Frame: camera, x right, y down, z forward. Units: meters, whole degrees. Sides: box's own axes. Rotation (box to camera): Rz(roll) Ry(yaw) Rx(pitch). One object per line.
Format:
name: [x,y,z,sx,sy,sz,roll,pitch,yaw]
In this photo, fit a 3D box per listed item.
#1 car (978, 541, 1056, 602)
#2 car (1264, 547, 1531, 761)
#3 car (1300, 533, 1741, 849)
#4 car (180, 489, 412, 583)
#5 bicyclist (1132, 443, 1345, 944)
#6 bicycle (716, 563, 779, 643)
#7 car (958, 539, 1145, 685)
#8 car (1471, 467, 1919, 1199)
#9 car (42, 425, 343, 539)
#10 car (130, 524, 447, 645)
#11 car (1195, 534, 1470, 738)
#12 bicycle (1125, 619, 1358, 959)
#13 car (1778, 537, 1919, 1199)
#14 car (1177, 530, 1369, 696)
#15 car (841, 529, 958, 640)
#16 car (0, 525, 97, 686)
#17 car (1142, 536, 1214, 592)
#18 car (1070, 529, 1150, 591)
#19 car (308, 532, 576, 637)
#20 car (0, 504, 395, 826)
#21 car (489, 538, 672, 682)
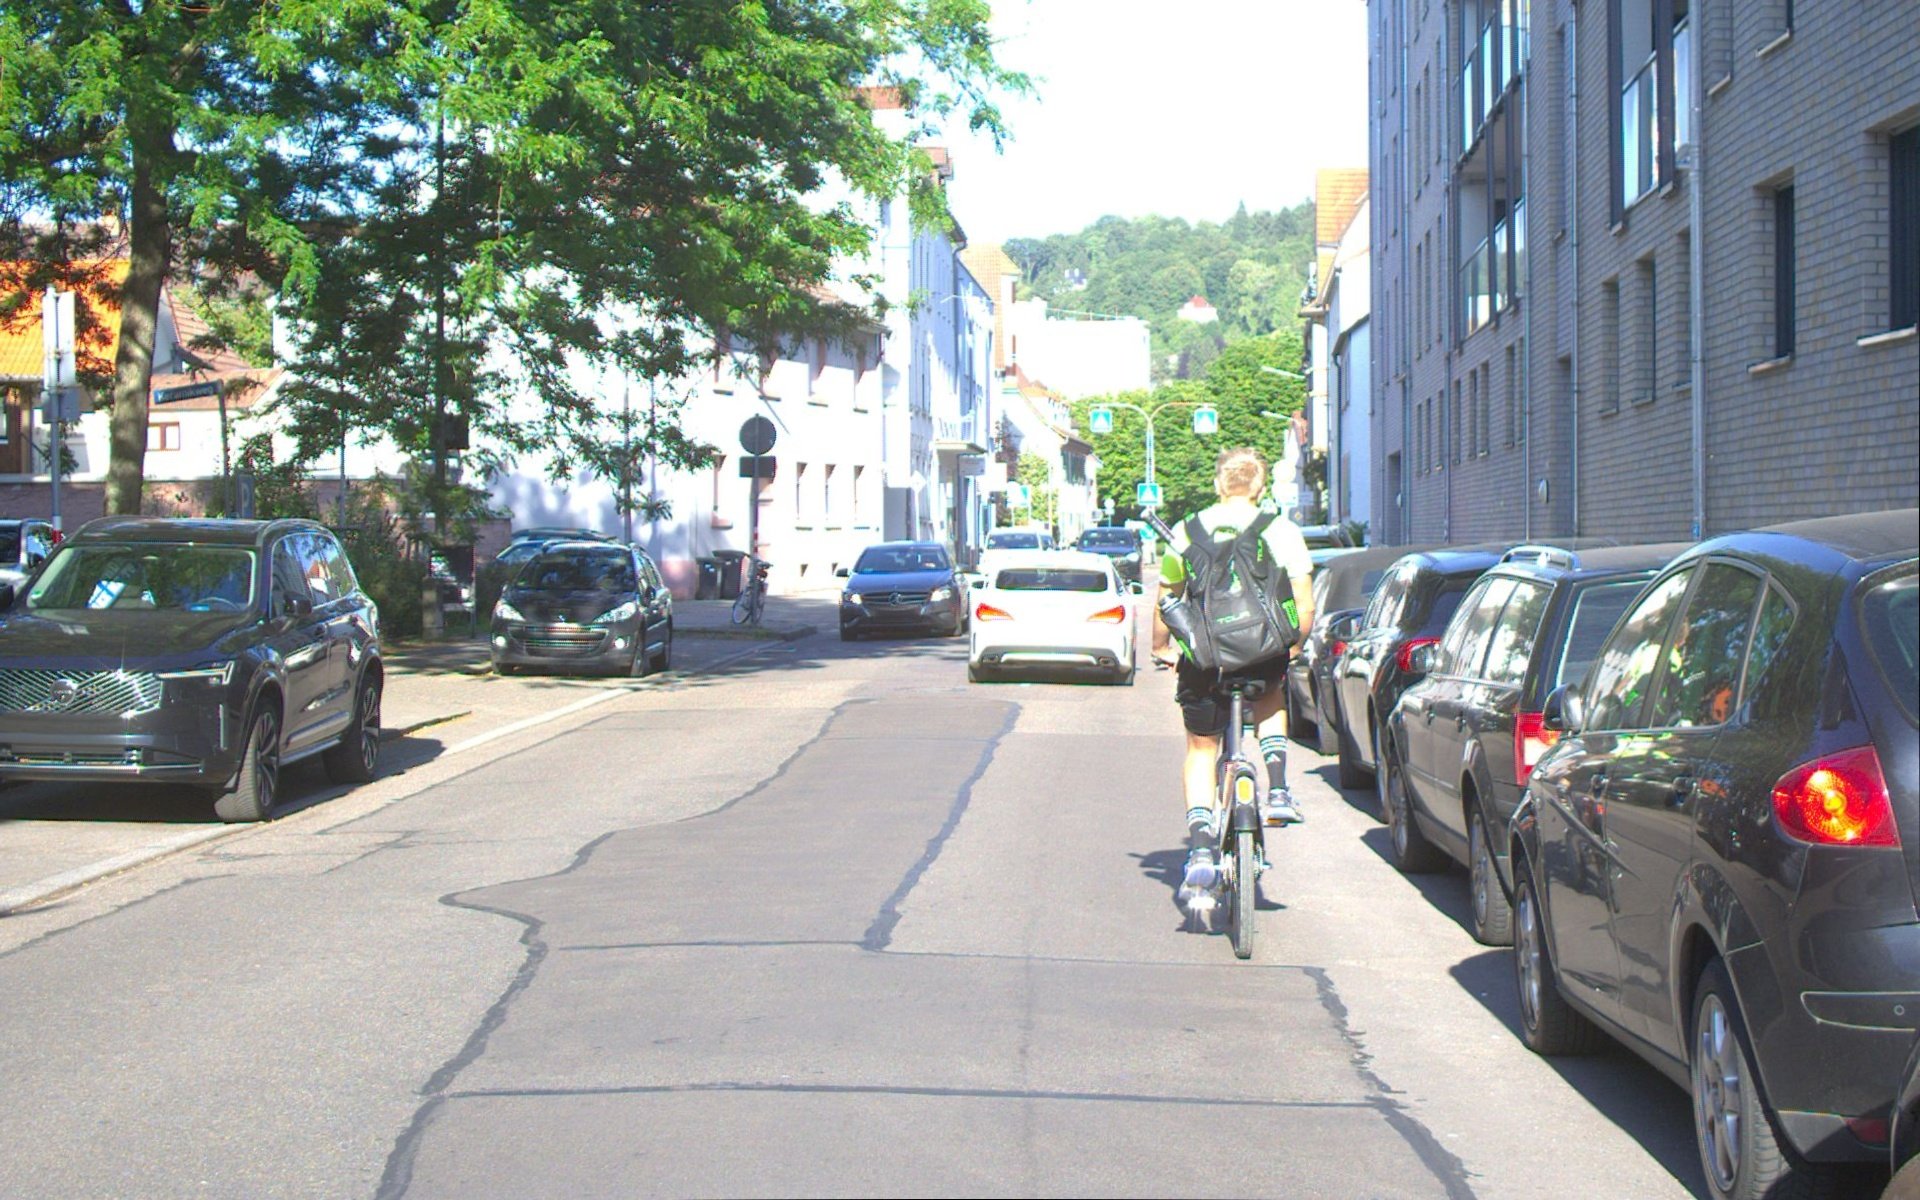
car: [1.607,-0.794,95.657,1.945,1.581,4.621,-2,0,3]
car: [3.226,0.368,25.881,1.508,1.439,3.530,-2,0,0]
car: [3.070,0.435,19.755,1.858,1.581,4.621,1,1,1]
car: [-11.665,-1.120,60.594,3.900,1.570,1.710,1,1,-7]
bicyclist: [1.025,0.333,12.844,0.698,1.784,1.041,1,0,1]
bicycle: [-3.394,0.028,55.099,0.835,1.213,2.842,1,1,-1]
car: [0.954,0.115,37.940,1.842,1.486,4.144,1,0,-1]
car: [2.460,0.560,8.930,1.664,1.696,3.914,1,1,0]
car: [-11.097,-1.706,49.849,3.902,1.570,1.709,1,1,5]
car: [-9.157,-0.226,47.037,3.902,1.570,1.709,1,1,8]
car: [3.175,0.273,30.149,1.857,1.581,4.621,-2,0,0]
bicycle: [1.019,0.652,12.937,0.698,1.126,2.403,1,0,1]
car: [2.385,0.664,4.350,1.629,1.581,4.069,-2,0,-1]
car: [3.500,0.117,39.106,1.858,1.696,4.621,-2,0,2]
car: [-0.893,-0.256,51.724,1.664,1.570,3.914,1,1,-1]
car: [-11.090,0.003,38.714,1.790,1.684,3.965,2,1,-2]
car: [7.085,-1.191,112.122,1.853,1.785,4.608,1,1,-2]
car: [4.188,-1.104,95.397,1.945,1.581,4.620,-2,0,5]
car: [-8.121,-0.253,54.113,3.901,1.570,1.710,1,1,3]
car: [-4.906,0.324,21.563,1.853,1.785,4.607,1,1,1]
car: [-4.368,0.084,40.032,1.704,1.570,3.914,1,1,-1]
